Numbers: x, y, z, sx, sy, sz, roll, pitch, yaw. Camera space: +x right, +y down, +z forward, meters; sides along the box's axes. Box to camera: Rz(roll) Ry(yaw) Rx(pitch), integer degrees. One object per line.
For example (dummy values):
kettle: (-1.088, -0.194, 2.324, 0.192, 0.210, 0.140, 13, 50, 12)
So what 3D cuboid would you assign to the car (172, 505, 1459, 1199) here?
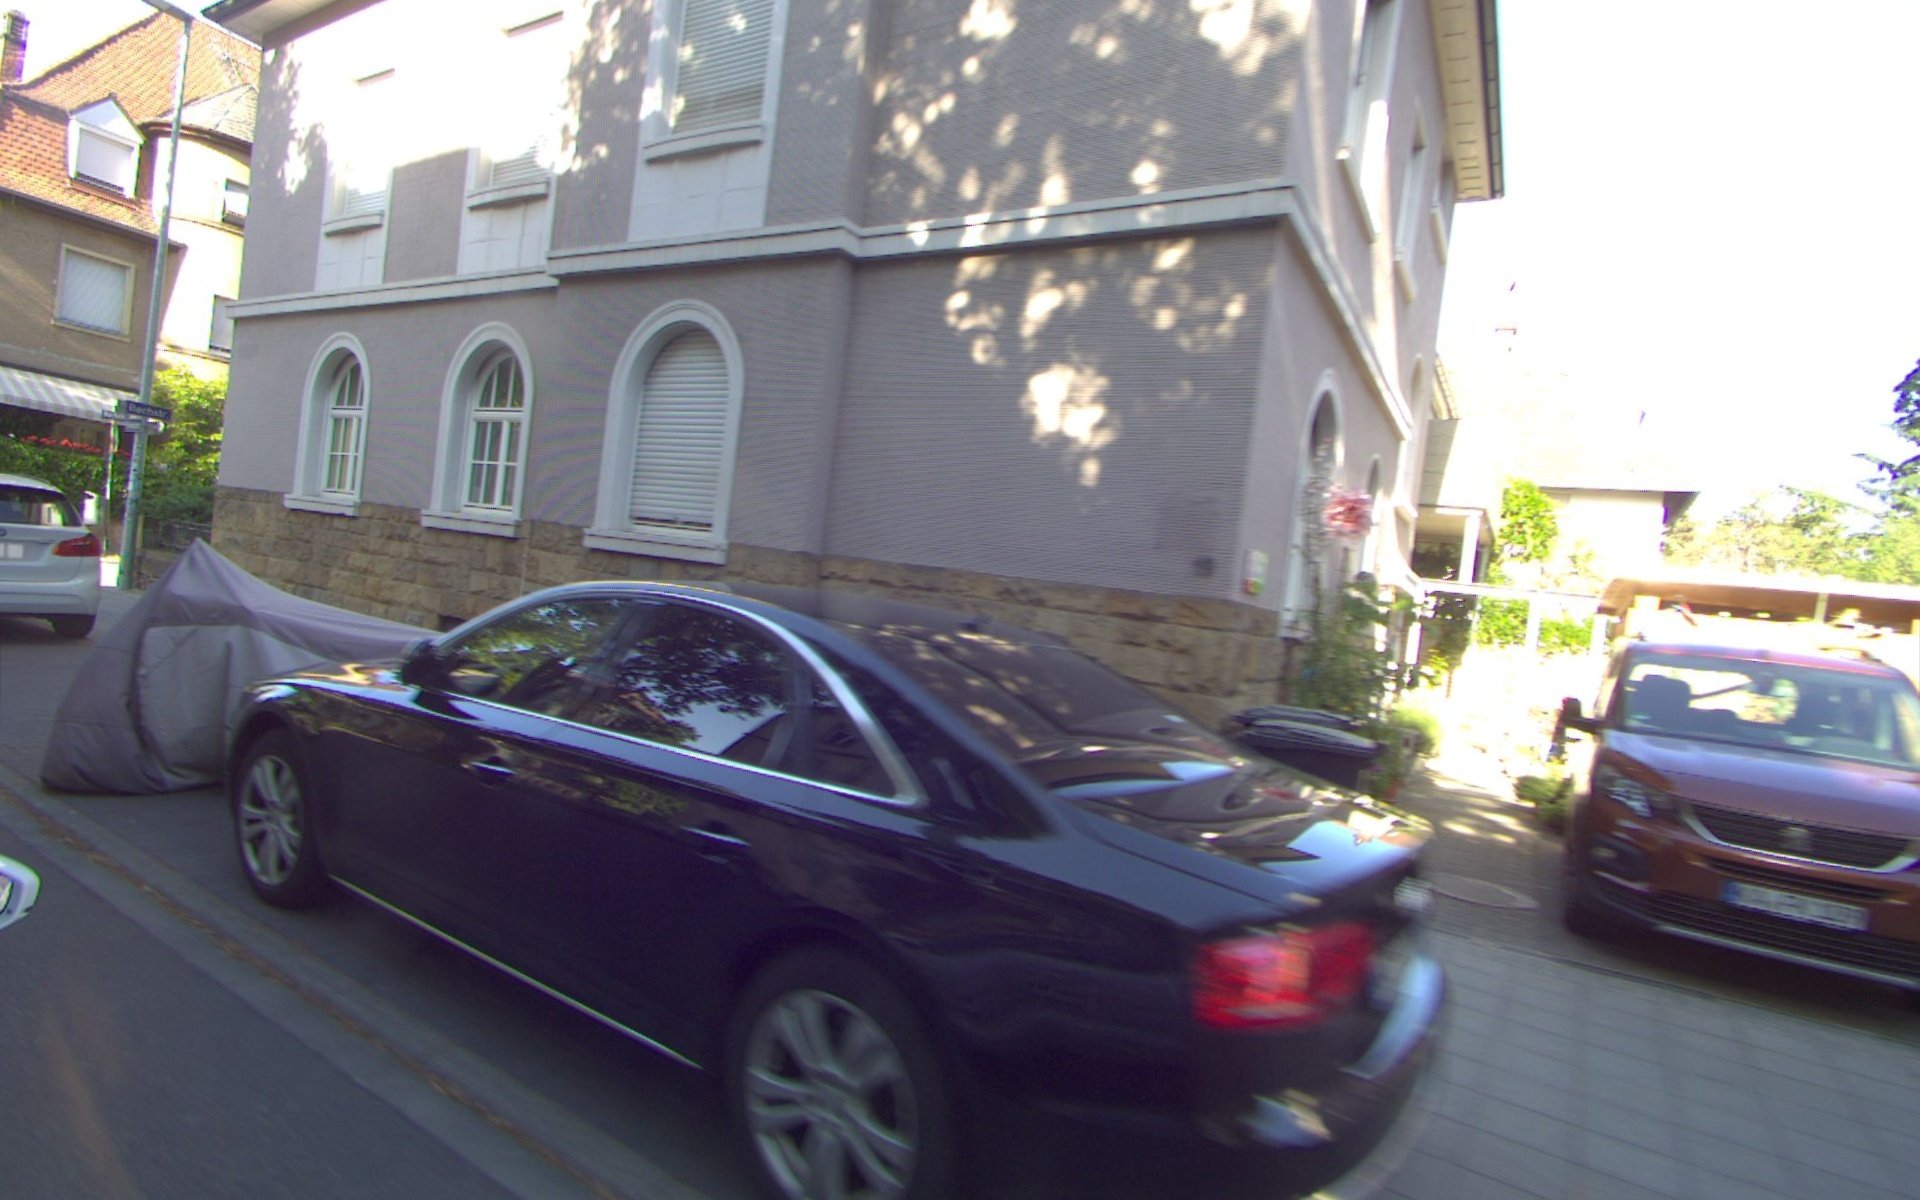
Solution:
car: (-0.867, 0.638, 3.715, 4.533, 1.512, 1.854, 7, 2, 34)

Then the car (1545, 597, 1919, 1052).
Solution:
car: (4.906, 1.112, 6.424, 1.736, 1.866, 4.142, 7, 0, 32)

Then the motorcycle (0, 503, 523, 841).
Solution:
motorcycle: (-3.761, 0.371, 5.505, 2.160, 1.354, 0.922, 9, -1, 3)

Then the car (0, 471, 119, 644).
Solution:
car: (-10.400, -0.593, 10.132, 4.086, 1.560, 1.700, 7, 3, 31)

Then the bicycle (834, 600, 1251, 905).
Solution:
bicycle: (0.482, 0.823, 6.258, 2.213, 1.355, 1.083, 7, 1, 32)

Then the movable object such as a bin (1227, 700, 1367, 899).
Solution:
movable object such as a bin: (2.093, 1.197, 6.228, 0.607, 1.053, 0.569, 8, 2, 30)

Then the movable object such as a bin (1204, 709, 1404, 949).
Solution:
movable object such as a bin: (1.894, 1.200, 5.516, 0.814, 1.053, 0.648, 7, 2, 30)
